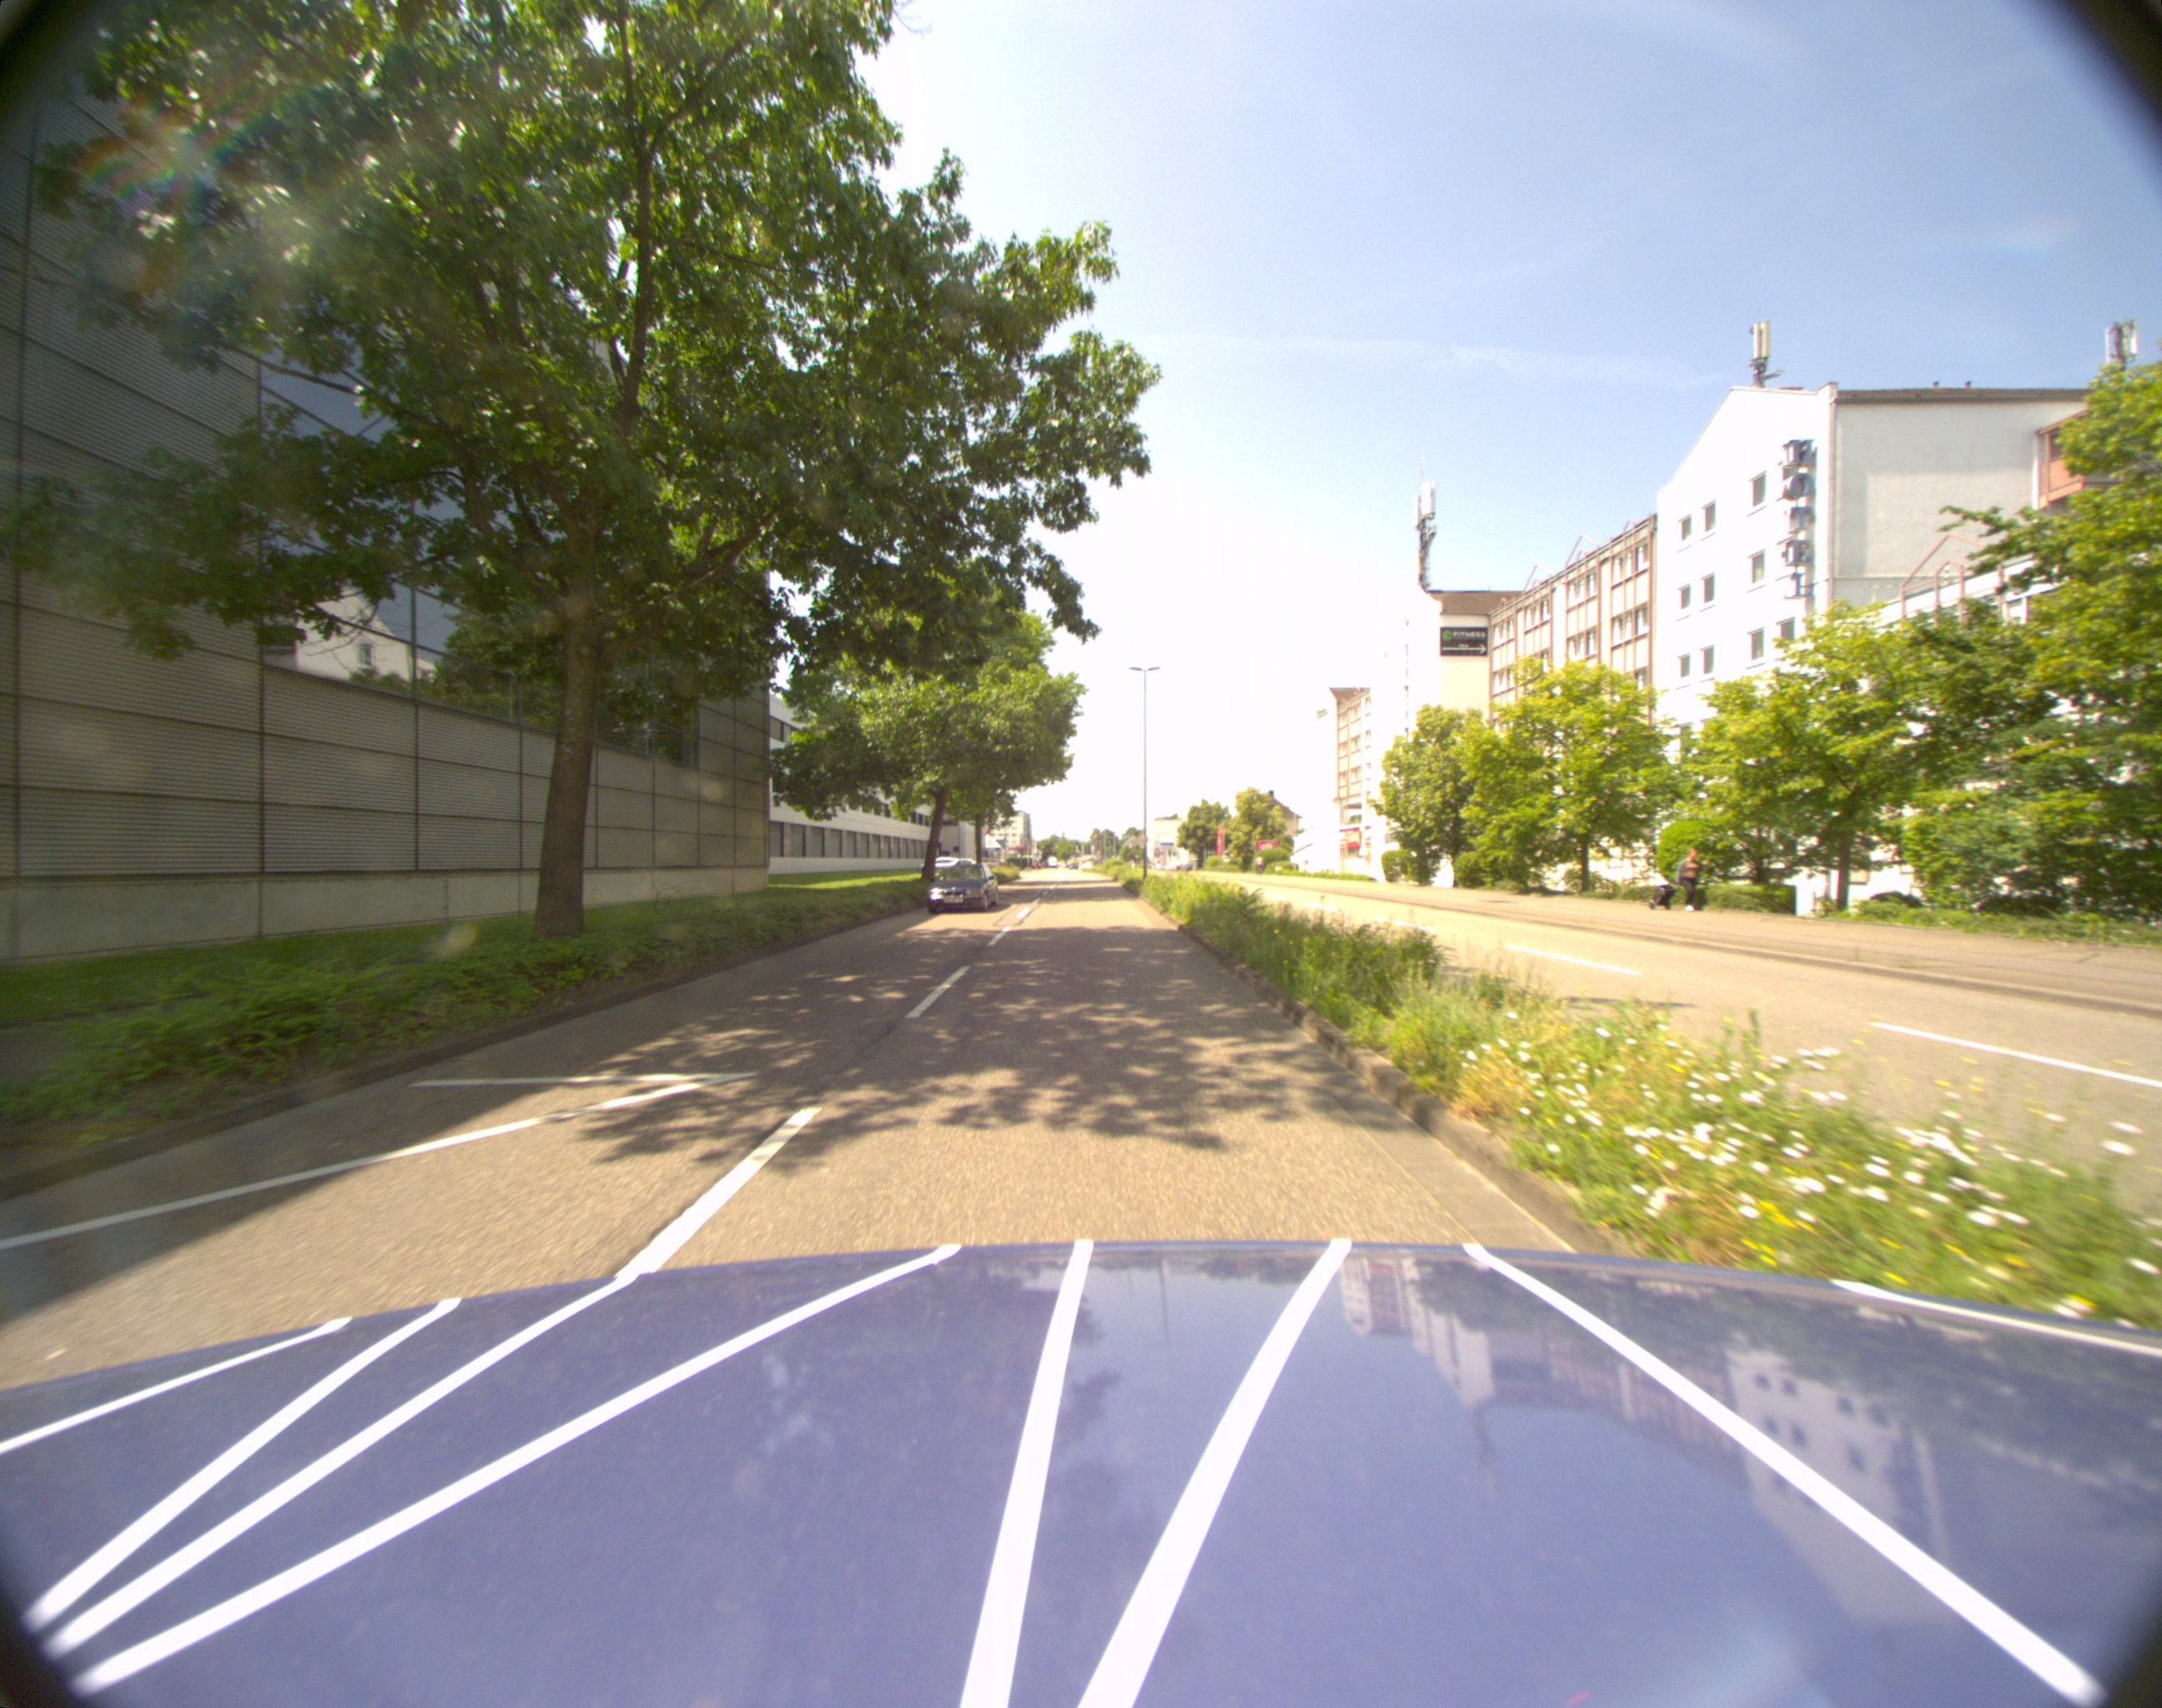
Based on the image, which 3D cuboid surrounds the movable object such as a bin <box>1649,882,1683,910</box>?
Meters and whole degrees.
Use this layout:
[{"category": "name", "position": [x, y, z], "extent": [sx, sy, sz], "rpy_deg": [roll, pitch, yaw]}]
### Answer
[{"category": "movable object such as a bin", "position": [15.337, 1.091, 19.919], "extent": [0.429, 0.701, 0.652], "rpy_deg": [1, 1, 9]}]

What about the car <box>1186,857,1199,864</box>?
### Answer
[{"category": "car", "position": [20.441, 1.234, 139.399], "extent": [1.737, 1.343, 3.999], "rpy_deg": [0, 0, -2]}]

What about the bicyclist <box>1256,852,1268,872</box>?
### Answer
[{"category": "bicyclist", "position": [14.395, 0.634, 60.468], "extent": [0.719, 1.507, 1.026], "rpy_deg": [0, 0, -3]}]

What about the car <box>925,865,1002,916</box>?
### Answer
[{"category": "car", "position": [-3.421, 1.024, 22.738], "extent": [1.632, 1.331, 3.757], "rpy_deg": [-1, -1, 1]}]

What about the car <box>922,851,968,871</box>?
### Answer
[{"category": "car", "position": [-12.070, 0.626, 67.640], "extent": [3.823, 1.582, 1.732], "rpy_deg": [2, 0, -4]}]

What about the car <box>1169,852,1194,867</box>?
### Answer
[{"category": "car", "position": [20.297, 1.103, 153.162], "extent": [4.557, 1.699, 1.760], "rpy_deg": [-15, 0, 10]}]

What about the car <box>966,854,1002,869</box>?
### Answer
[{"category": "car", "position": [-11.790, 0.914, 92.372], "extent": [4.271, 1.679, 1.999], "rpy_deg": [1, 0, -4]}]

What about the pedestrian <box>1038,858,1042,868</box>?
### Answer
[{"category": "pedestrian", "position": [-7.659, 1.629, 142.396], "extent": [0.787, 1.836, 0.936], "rpy_deg": [0, 0, 3]}]

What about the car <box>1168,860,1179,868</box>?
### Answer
[{"category": "car", "position": [17.115, 1.851, 140.180], "extent": [1.780, 1.402, 4.761], "rpy_deg": [1, -1, 4]}]

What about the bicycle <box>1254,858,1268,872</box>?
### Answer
[{"category": "bicycle", "position": [14.367, 0.867, 60.562], "extent": [0.552, 1.067, 2.062], "rpy_deg": [-1, 0, -2]}]

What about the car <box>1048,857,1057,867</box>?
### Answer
[{"category": "car", "position": [-8.082, 2.339, 218.088], "extent": [2.183, 2.757, 7.278], "rpy_deg": [2, 0, 0]}]

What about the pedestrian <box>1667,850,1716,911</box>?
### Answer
[{"category": "pedestrian", "position": [15.653, 0.676, 19.494], "extent": [0.634, 1.536, 0.727], "rpy_deg": [0, 1, 0]}]

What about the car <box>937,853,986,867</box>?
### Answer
[{"category": "car", "position": [-11.966, 0.610, 76.316], "extent": [4.627, 1.382, 1.999], "rpy_deg": [1, 1, -5]}]
